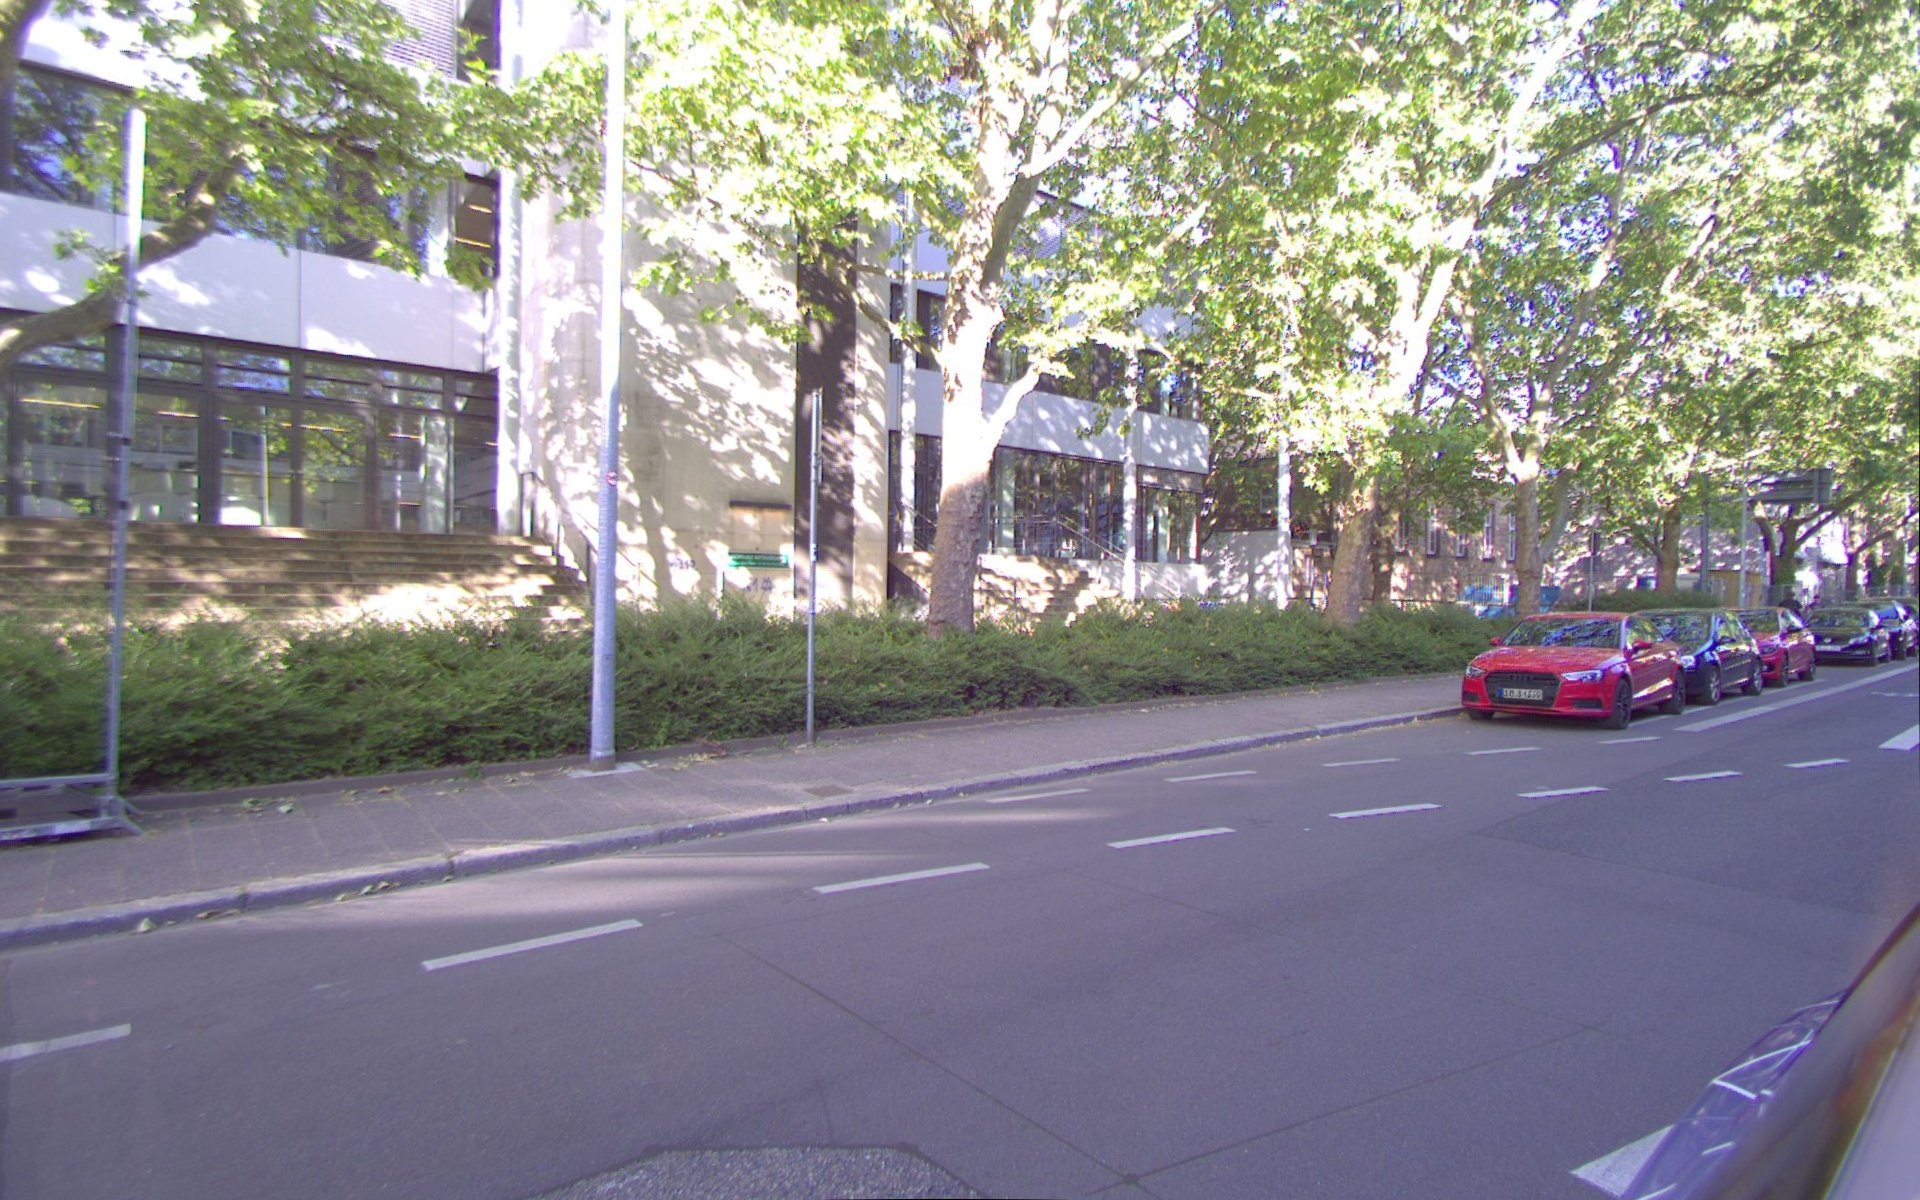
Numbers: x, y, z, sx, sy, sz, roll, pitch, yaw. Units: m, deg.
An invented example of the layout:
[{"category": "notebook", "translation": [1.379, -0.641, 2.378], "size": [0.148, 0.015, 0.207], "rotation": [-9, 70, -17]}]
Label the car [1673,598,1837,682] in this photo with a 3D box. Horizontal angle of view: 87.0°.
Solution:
[{"category": "car", "translation": [15.851, 0.708, 20.113], "size": [4.095, 1.486, 1.834], "rotation": [0, 0, -41]}]

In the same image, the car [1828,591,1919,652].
[{"category": "car", "translation": [26.573, 0.571, 29.099], "size": [4.088, 1.626, 1.834], "rotation": [0, 0, -40]}]

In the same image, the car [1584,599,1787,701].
[{"category": "car", "translation": [12.036, 0.718, 16.699], "size": [4.095, 1.464, 1.834], "rotation": [0, 0, -41]}]

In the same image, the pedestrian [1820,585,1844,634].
[{"category": "pedestrian", "translation": [32.462, 0.342, 37.672], "size": [0.583, 1.818, 0.600], "rotation": [0, 0, -41]}]

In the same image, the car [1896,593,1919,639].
[{"category": "car", "translation": [35.921, 0.580, 37.115], "size": [4.183, 1.634, 1.834], "rotation": [0, 0, -40]}]

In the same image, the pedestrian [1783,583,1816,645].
[{"category": "pedestrian", "translation": [25.533, 0.415, 30.773], "size": [0.629, 1.884, 0.660], "rotation": [0, 0, -41]}]

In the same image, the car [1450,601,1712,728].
[{"category": "car", "translation": [8.417, 0.736, 13.582], "size": [4.173, 1.422, 1.834], "rotation": [0, 0, -41]}]

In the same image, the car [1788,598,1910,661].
[{"category": "car", "translation": [22.884, 0.701, 26.005], "size": [4.095, 1.486, 1.834], "rotation": [0, 0, -41]}]

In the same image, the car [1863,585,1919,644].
[{"category": "car", "translation": [31.058, 0.438, 32.989], "size": [4.383, 1.820, 1.834], "rotation": [0, 0, -40]}]
